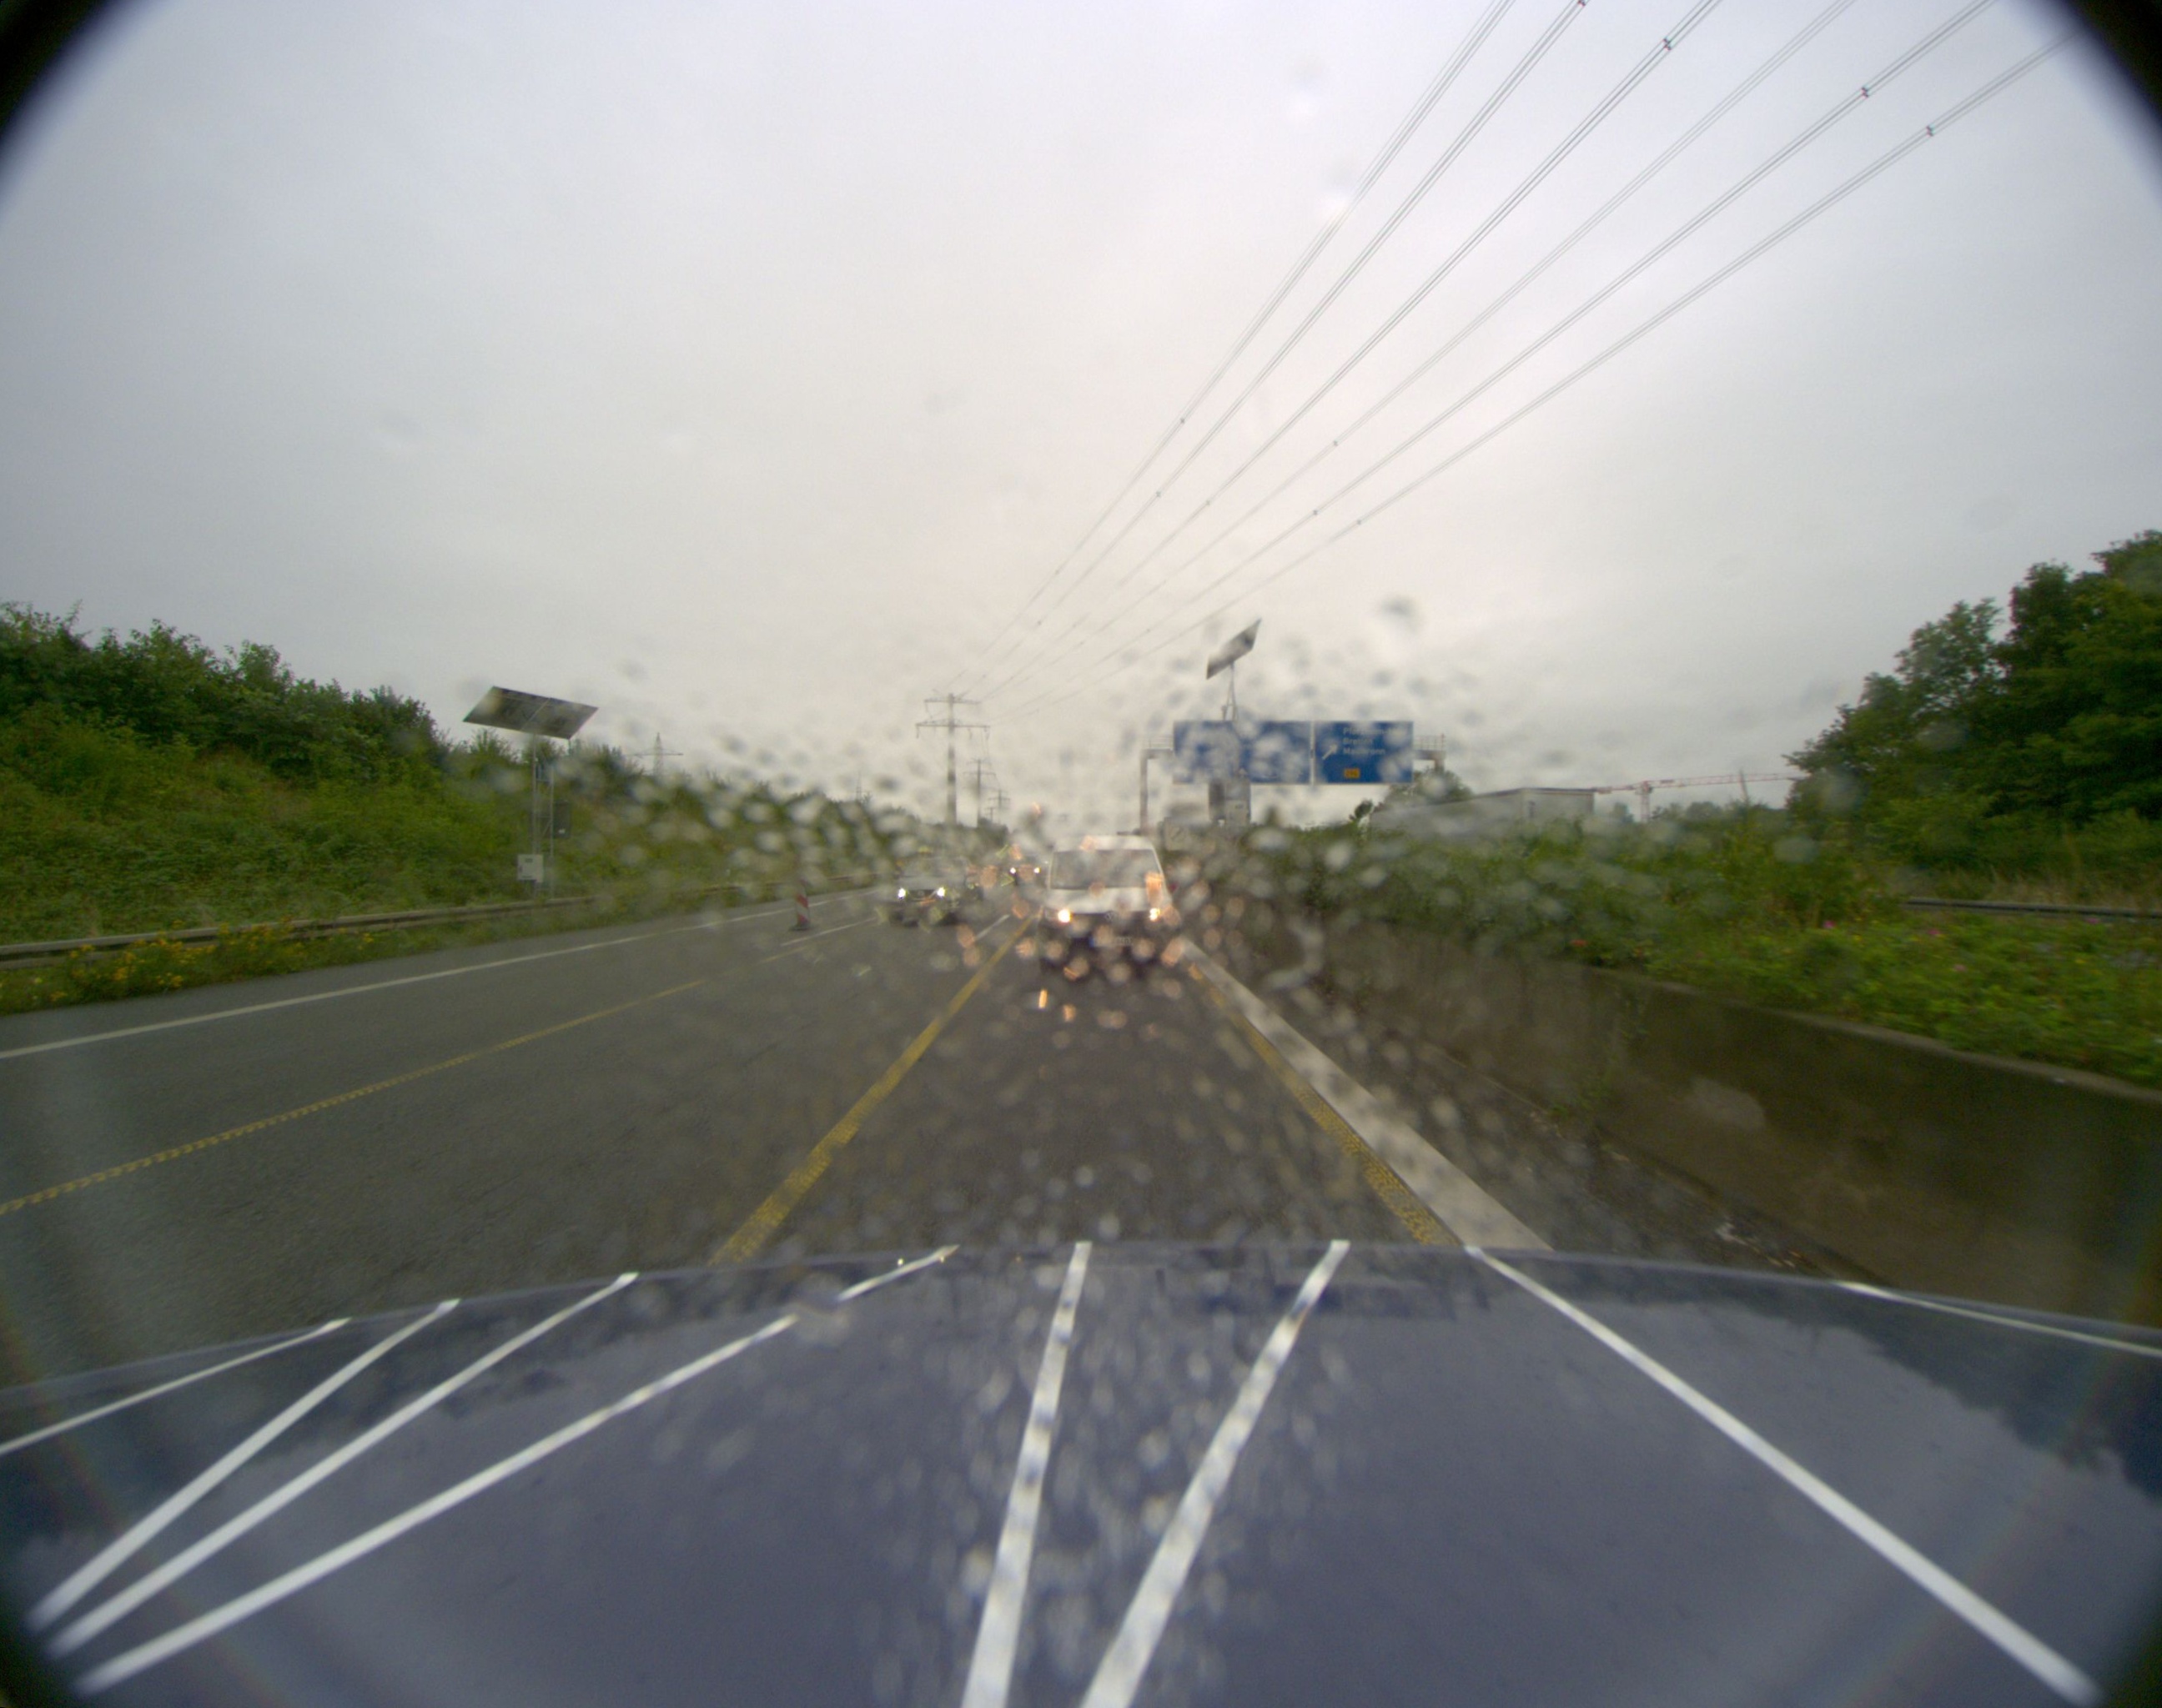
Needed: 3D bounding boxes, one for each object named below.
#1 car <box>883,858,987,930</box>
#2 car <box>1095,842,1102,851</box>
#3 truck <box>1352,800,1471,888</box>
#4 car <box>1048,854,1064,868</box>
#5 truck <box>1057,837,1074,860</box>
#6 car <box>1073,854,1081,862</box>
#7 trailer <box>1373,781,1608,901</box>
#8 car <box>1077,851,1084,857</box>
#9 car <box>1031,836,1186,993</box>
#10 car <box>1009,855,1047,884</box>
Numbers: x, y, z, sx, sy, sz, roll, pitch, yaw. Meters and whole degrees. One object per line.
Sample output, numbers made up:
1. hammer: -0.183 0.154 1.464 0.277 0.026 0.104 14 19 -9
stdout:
1. car: -3.484 0.895 18.887 1.804 1.523 4.149 -1 0 -1
2. car: 4.388 -1.881 191.608 1.785 2.002 4.000 -2 1 1
3. truck: 16.497 -0.487 38.606 2.793 4.000 7.232 2 1 0
4. car: -2.923 0.816 89.473 1.804 1.598 4.149 -1 0 -1
5. truck: -2.783 -0.949 139.069 2.875 4.007 8.308 -1 1 1
6. car: -0.999 0.944 181.388 1.784 2.002 4.000 -1 0 1
7. trailer: 16.462 -0.468 32.469 2.793 4.000 13.249 2 0 0
8. car: -0.233 -0.098 215.431 1.906 1.608 4.000 0 0 1
9. car: 0.351 0.700 11.065 1.768 1.803 4.345 -1 0 1
10. car: -2.817 0.800 41.325 1.804 1.432 4.149 -1 0 -1
